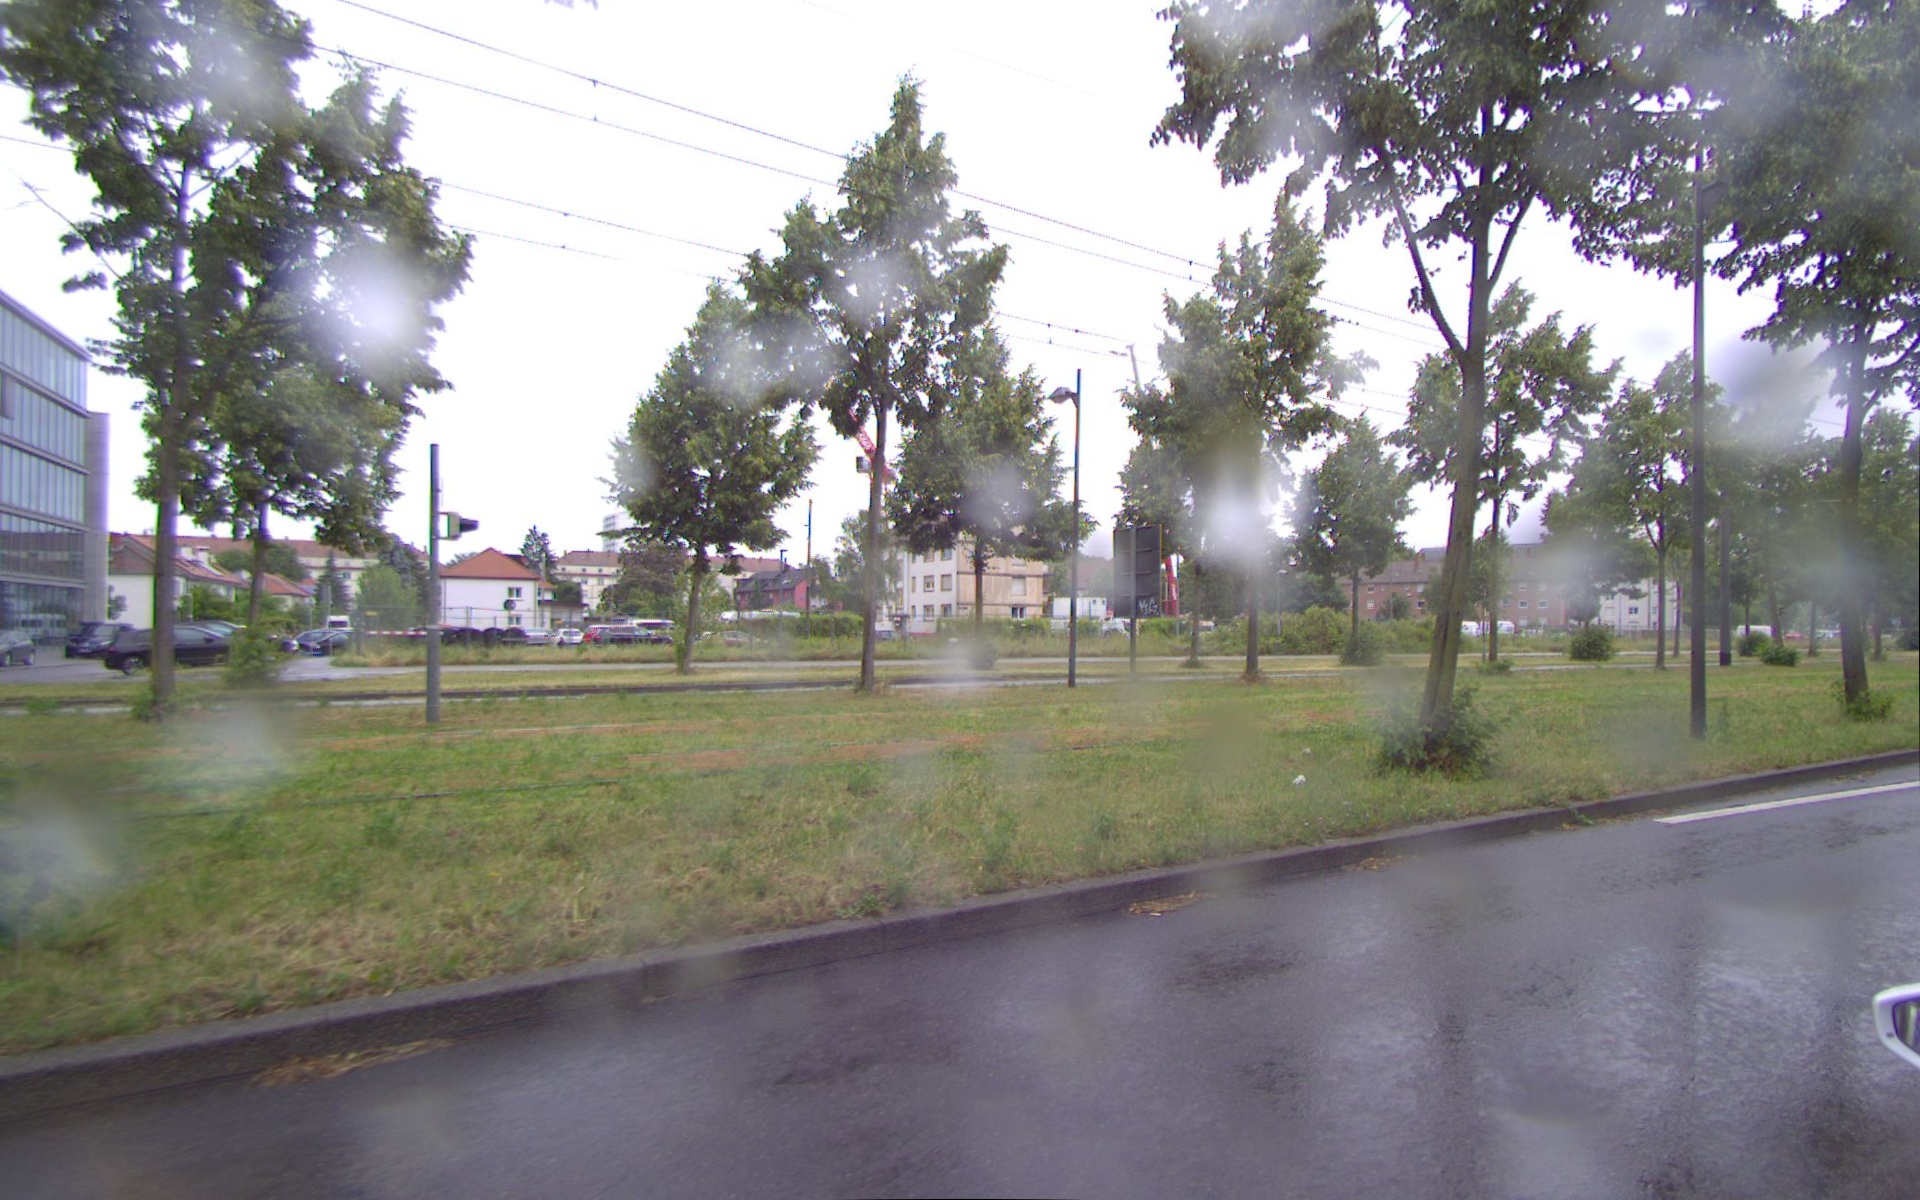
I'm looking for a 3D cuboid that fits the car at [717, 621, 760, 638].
[{"bbox_3d":[-15.844,2.095,71.980,2.771,1.123,1.226,-2,0,-26],"label":"car"}]

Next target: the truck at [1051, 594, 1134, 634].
[{"bbox_3d":[19.573,2.005,147.443,6.105,5.468,13.256,-2,0,38],"label":"truck"}]

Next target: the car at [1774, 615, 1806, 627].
[{"bbox_3d":[124.600,3.183,150.801,3.485,1.762,1.700,-2,0,35],"label":"car"}]

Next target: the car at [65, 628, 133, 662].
[{"bbox_3d":[-45.462,2.335,53.142,1.722,1.630,4.207,-2,0,-27],"label":"car"}]

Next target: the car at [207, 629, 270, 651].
[{"bbox_3d":[-60.783,3.343,84.694,4.193,1.630,1.727,-2,0,-35],"label":"car"}]

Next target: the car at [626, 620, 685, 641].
[{"bbox_3d":[-22.174,2.185,73.169,3.850,1.368,1.684,-2,0,-26],"label":"car"}]

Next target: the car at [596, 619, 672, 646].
[{"bbox_3d":[-18.434,1.829,56.817,3.850,1.368,1.684,-2,0,-26],"label":"car"}]

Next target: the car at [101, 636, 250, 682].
[{"bbox_3d":[-25.205,1.871,32.432,3.620,1.256,1.492,-2,0,-33],"label":"car"}]

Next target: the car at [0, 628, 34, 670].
[{"bbox_3d":[-39.357,1.992,40.747,1.575,1.630,3.592,-2,0,-26],"label":"car"}]

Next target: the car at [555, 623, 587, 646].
[{"bbox_3d":[-25.892,2.277,66.755,1.673,1.368,3.877,-2,0,-26],"label":"car"}]

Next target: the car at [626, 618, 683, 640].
[{"bbox_3d":[-21.162,2.012,69.539,3.574,1.368,1.316,-2,0,-26],"label":"car"}]

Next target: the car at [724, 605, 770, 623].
[{"bbox_3d":[-16.144,1.065,76.257,3.204,1.214,1.184,-2,0,-26],"label":"car"}]

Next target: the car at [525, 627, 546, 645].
[{"bbox_3d":[-31.928,2.700,75.529,1.296,1.201,3.066,-2,0,-26],"label":"car"}]
